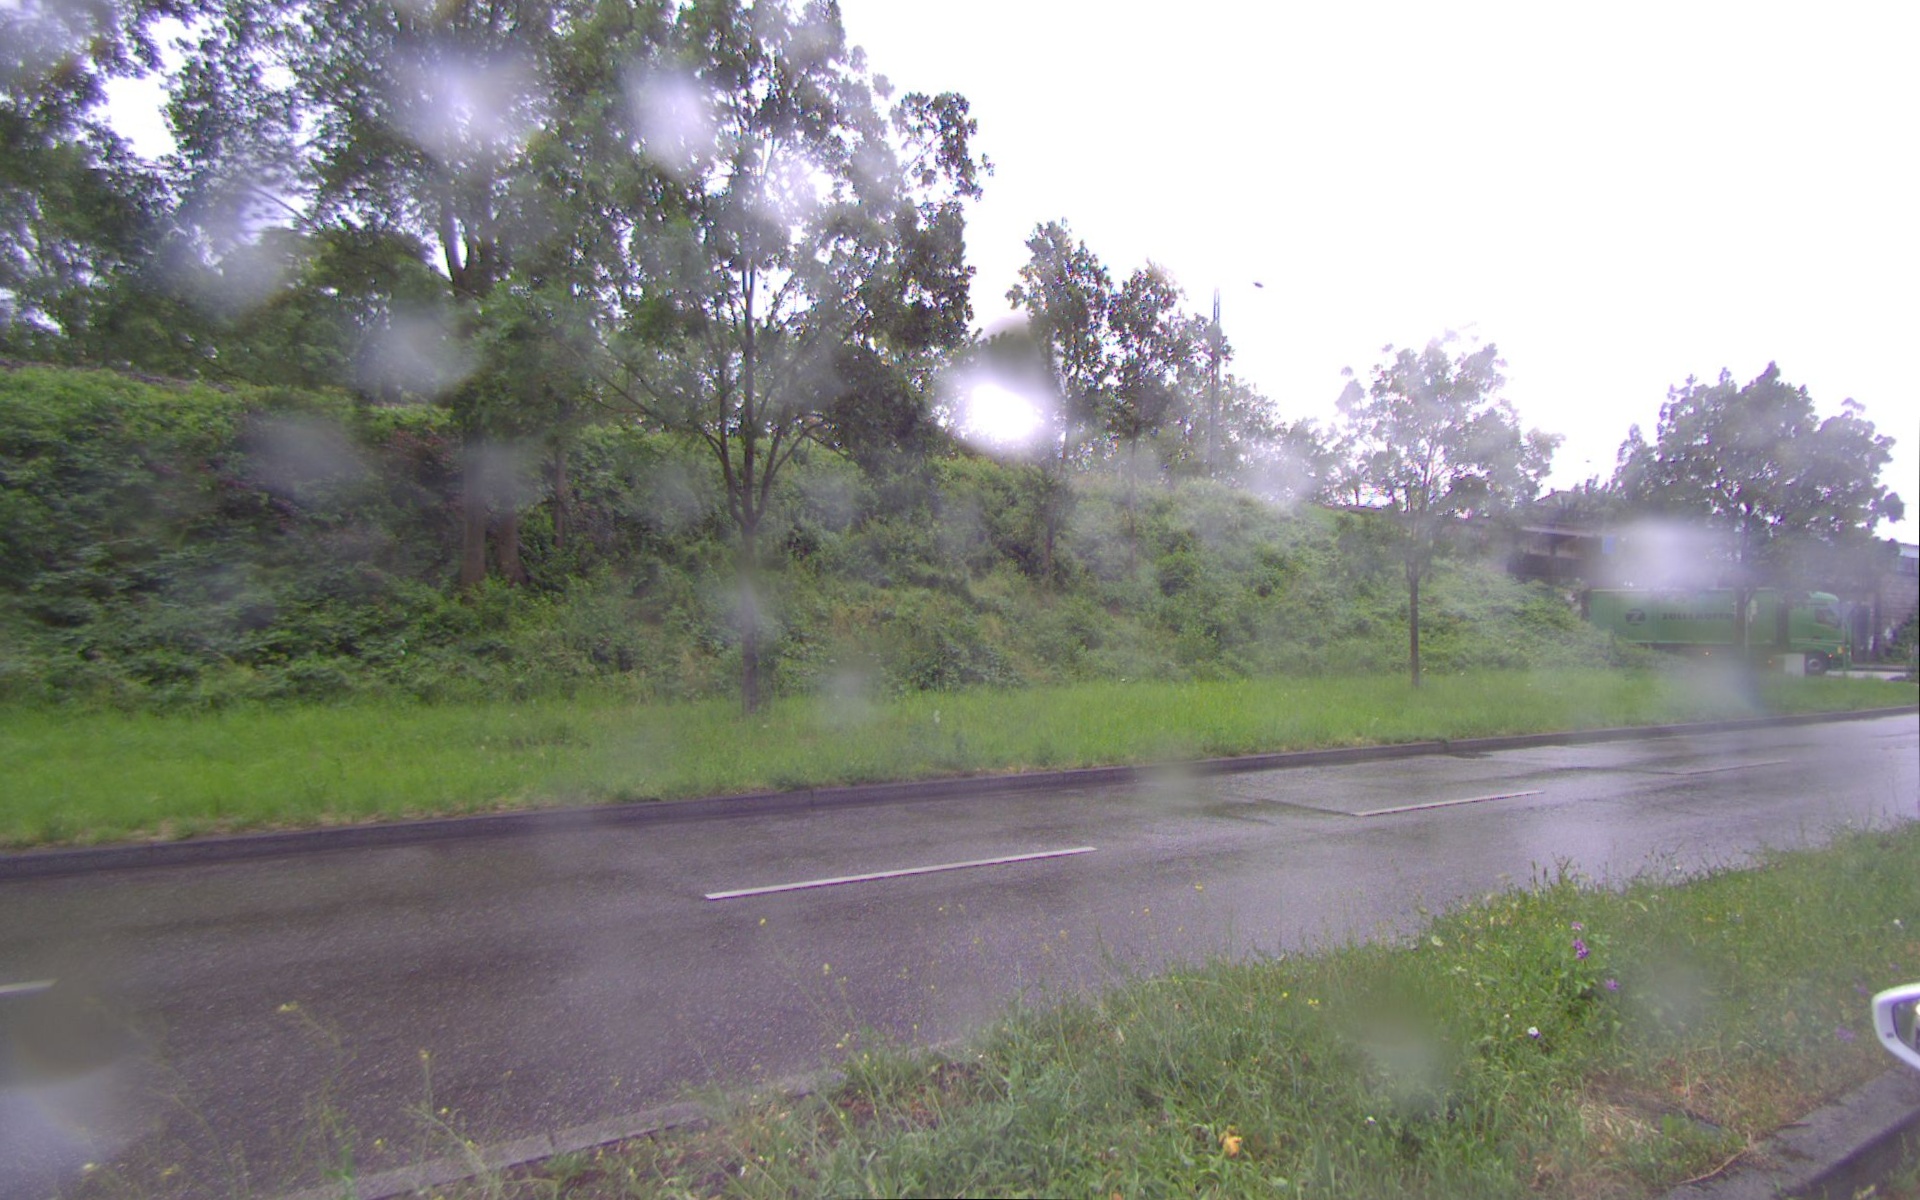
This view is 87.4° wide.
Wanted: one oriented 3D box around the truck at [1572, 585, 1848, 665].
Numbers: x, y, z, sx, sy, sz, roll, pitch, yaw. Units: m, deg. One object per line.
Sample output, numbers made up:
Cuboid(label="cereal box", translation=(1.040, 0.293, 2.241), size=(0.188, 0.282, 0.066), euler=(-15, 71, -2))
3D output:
Cuboid(label="truck", translation=(34.152, 1.062, 46.303), size=(9.872, 3.416, 2.346), euler=(0, -1, 25))
